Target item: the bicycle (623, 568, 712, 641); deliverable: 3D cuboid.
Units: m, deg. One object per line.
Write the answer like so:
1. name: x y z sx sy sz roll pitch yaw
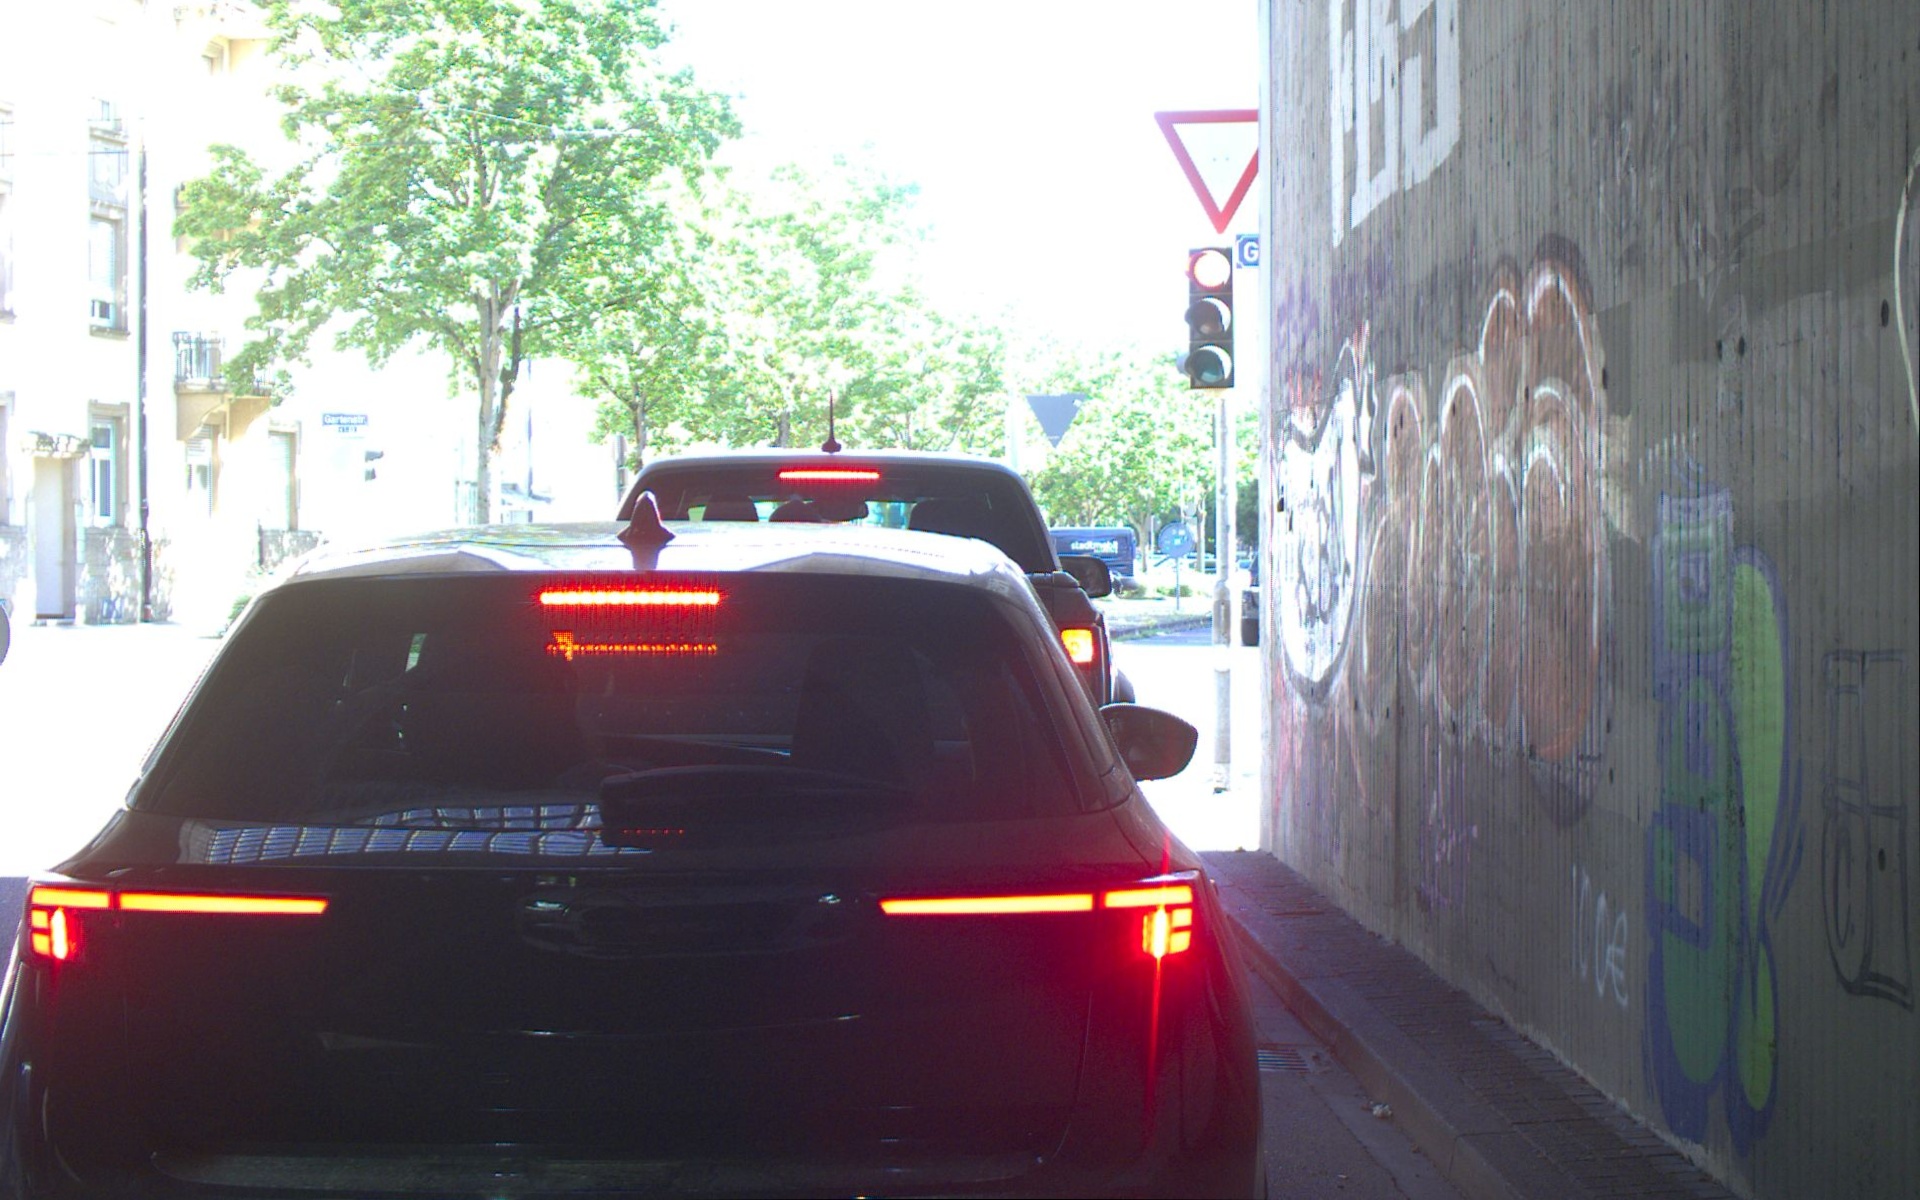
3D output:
1. bicycle: -4.738 0.065 55.747 0.737 1.126 2.025 0 1 17

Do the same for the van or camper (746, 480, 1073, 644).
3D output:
1. van or camper: -0.595 -0.477 43.397 3.878 2.007 2.000 0 1 7

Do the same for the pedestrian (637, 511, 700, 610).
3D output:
1. pedestrian: -4.719 -0.634 55.661 0.736 1.579 0.889 1 0 15

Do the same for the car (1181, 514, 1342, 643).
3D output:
1. car: 4.149 -0.346 47.944 1.993 1.635 4.593 -1 2 2

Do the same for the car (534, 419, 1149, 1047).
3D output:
1. car: -0.367 0.354 12.076 1.786 1.827 3.961 1 1 0

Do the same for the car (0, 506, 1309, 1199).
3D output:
1. car: -0.475 0.604 6.172 1.753 1.493 4.000 1 1 0
